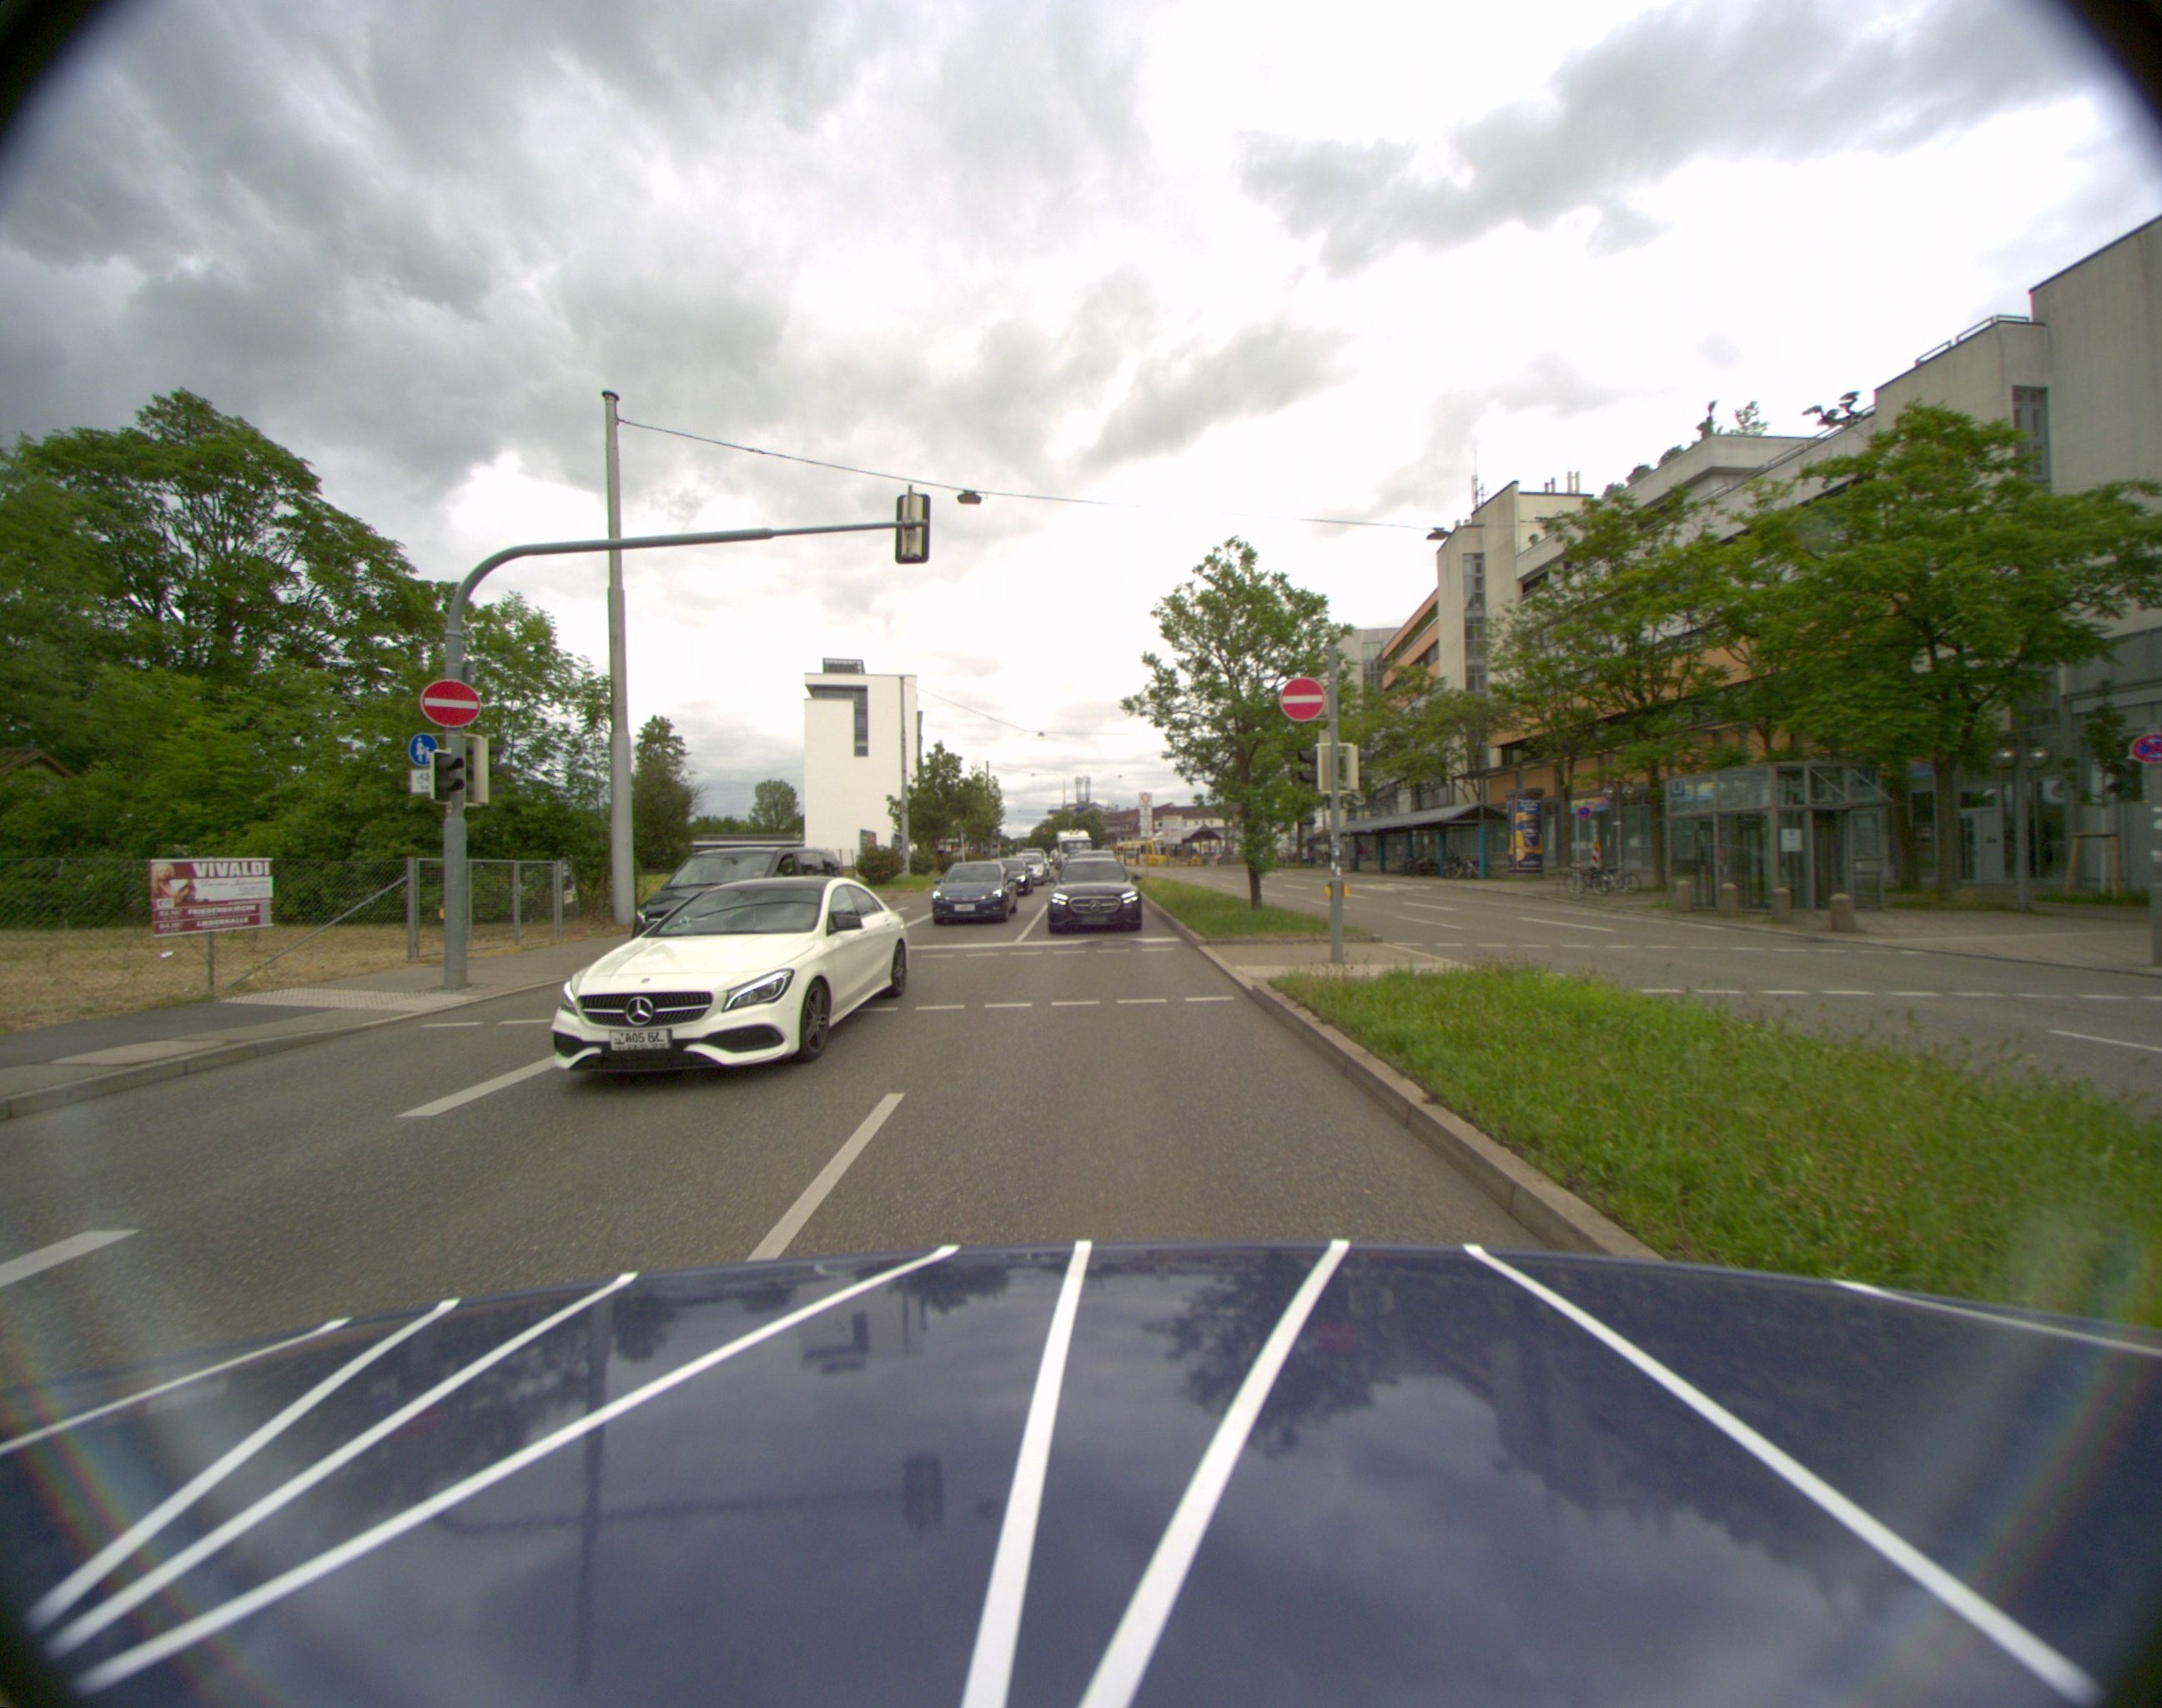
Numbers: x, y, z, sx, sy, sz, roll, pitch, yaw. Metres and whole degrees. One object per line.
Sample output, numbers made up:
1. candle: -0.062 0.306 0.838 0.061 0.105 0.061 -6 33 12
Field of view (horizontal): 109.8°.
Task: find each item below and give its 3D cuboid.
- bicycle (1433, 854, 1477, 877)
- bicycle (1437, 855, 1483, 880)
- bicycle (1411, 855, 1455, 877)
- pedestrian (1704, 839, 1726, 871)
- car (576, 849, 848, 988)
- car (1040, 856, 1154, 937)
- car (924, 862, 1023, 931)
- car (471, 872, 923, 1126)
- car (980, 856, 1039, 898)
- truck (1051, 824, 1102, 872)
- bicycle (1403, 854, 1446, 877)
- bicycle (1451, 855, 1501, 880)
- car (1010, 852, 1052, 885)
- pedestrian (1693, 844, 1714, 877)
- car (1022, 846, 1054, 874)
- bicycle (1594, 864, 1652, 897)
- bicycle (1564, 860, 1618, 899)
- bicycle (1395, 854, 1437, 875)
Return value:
1. bicycle: 19.197 0.607 38.999 2.070 1.084 0.542 -2 1 -6
2. bicycle: 18.913 0.661 37.915 2.070 1.132 0.542 -2 1 -6
3. bicycle: 18.703 0.646 40.353 2.069 1.084 0.542 -2 1 -1
4. pedestrian: 27.800 0.039 33.320 0.462 1.424 0.580 0 1 1
5. car: -5.825 0.880 12.881 2.015 1.877 4.875 -1 1 3
6. car: 0.326 0.801 16.258 2.058 1.477 4.974 0 -1 1
7. car: -2.593 0.986 19.343 1.798 1.464 4.310 -1 0 1
8. car: -2.944 0.985 7.205 1.798 1.464 4.699 -1 1 1
9. car: -2.733 0.845 29.842 1.798 1.464 4.310 -1 1 1
10. truck: -0.417 -0.406 55.228 3.120 3.209 6.521 -2 0 -5
11. bicycle: 18.670 0.630 41.313 2.069 1.132 0.542 -2 1 -1
12. bicycle: 19.222 0.643 36.953 2.206 1.084 0.542 -2 1 -6
13. car: -2.499 0.696 39.156 1.798 1.590 4.310 -1 1 1
14. pedestrian: 27.131 0.270 33.111 0.462 1.424 0.580 0 1 1
15. car: -2.748 0.375 49.425 2.021 1.760 3.999 -1 0 -2
16. bicycle: 18.576 0.887 26.103 0.521 1.021 2.050 -2 0 1
17. bicycle: 17.333 0.842 25.872 0.521 1.218 1.949 -2 0 1
18. bicycle: 18.619 0.591 42.228 2.069 1.084 0.542 -2 1 -1
